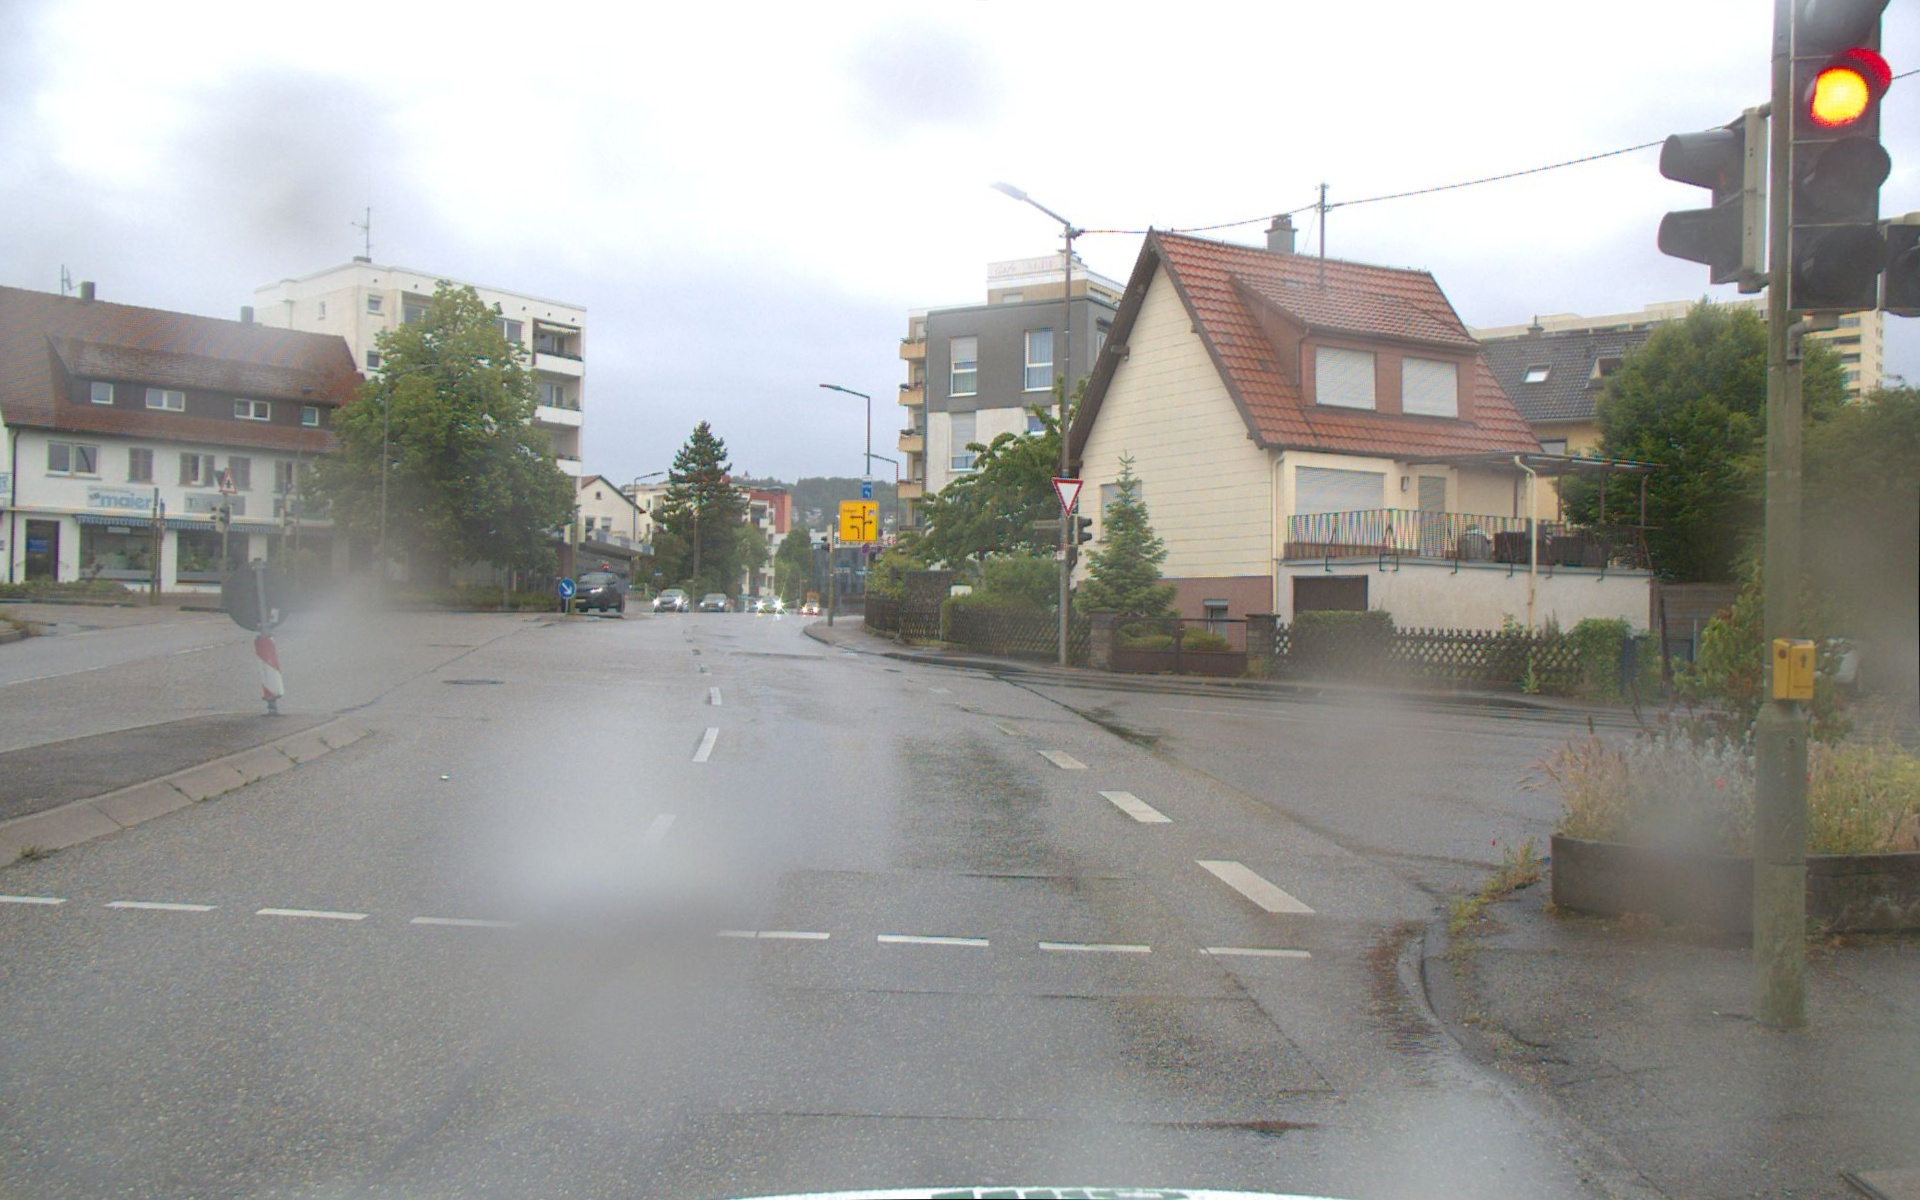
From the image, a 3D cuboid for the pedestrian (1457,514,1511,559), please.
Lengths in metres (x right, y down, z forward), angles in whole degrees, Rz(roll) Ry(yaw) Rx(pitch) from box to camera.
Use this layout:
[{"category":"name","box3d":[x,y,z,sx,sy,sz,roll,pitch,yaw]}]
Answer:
[{"category":"pedestrian","box3d":[11.145,-1.346,35.176,0.902,0.898,0.632,1,-2,-20]}]

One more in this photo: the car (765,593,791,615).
[{"category":"car","box3d":[-14.190,0.318,129.177,1.955,1.708,3.995,1,0,-5]}]

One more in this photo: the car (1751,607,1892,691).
[{"category":"car","box3d":[15.616,0.853,29.876,1.780,1.386,3.986,1,0,35]}]

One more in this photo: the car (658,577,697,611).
[{"category":"car","box3d":[-16.881,-0.332,98.817,1.955,1.937,3.995,1,0,-5]}]

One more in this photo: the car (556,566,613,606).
[{"category":"car","box3d":[-17.088,-0.609,75.418,1.956,1.768,5.173,1,0,-7]}]

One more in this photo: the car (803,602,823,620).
[{"category":"car","box3d":[-14.988,1.106,168.534,1.955,1.843,3.995,1,0,-5]}]

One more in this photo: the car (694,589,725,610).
[{"category":"car","box3d":[-18.179,-0.042,120.196,1.955,1.489,3.995,1,0,-5]}]
